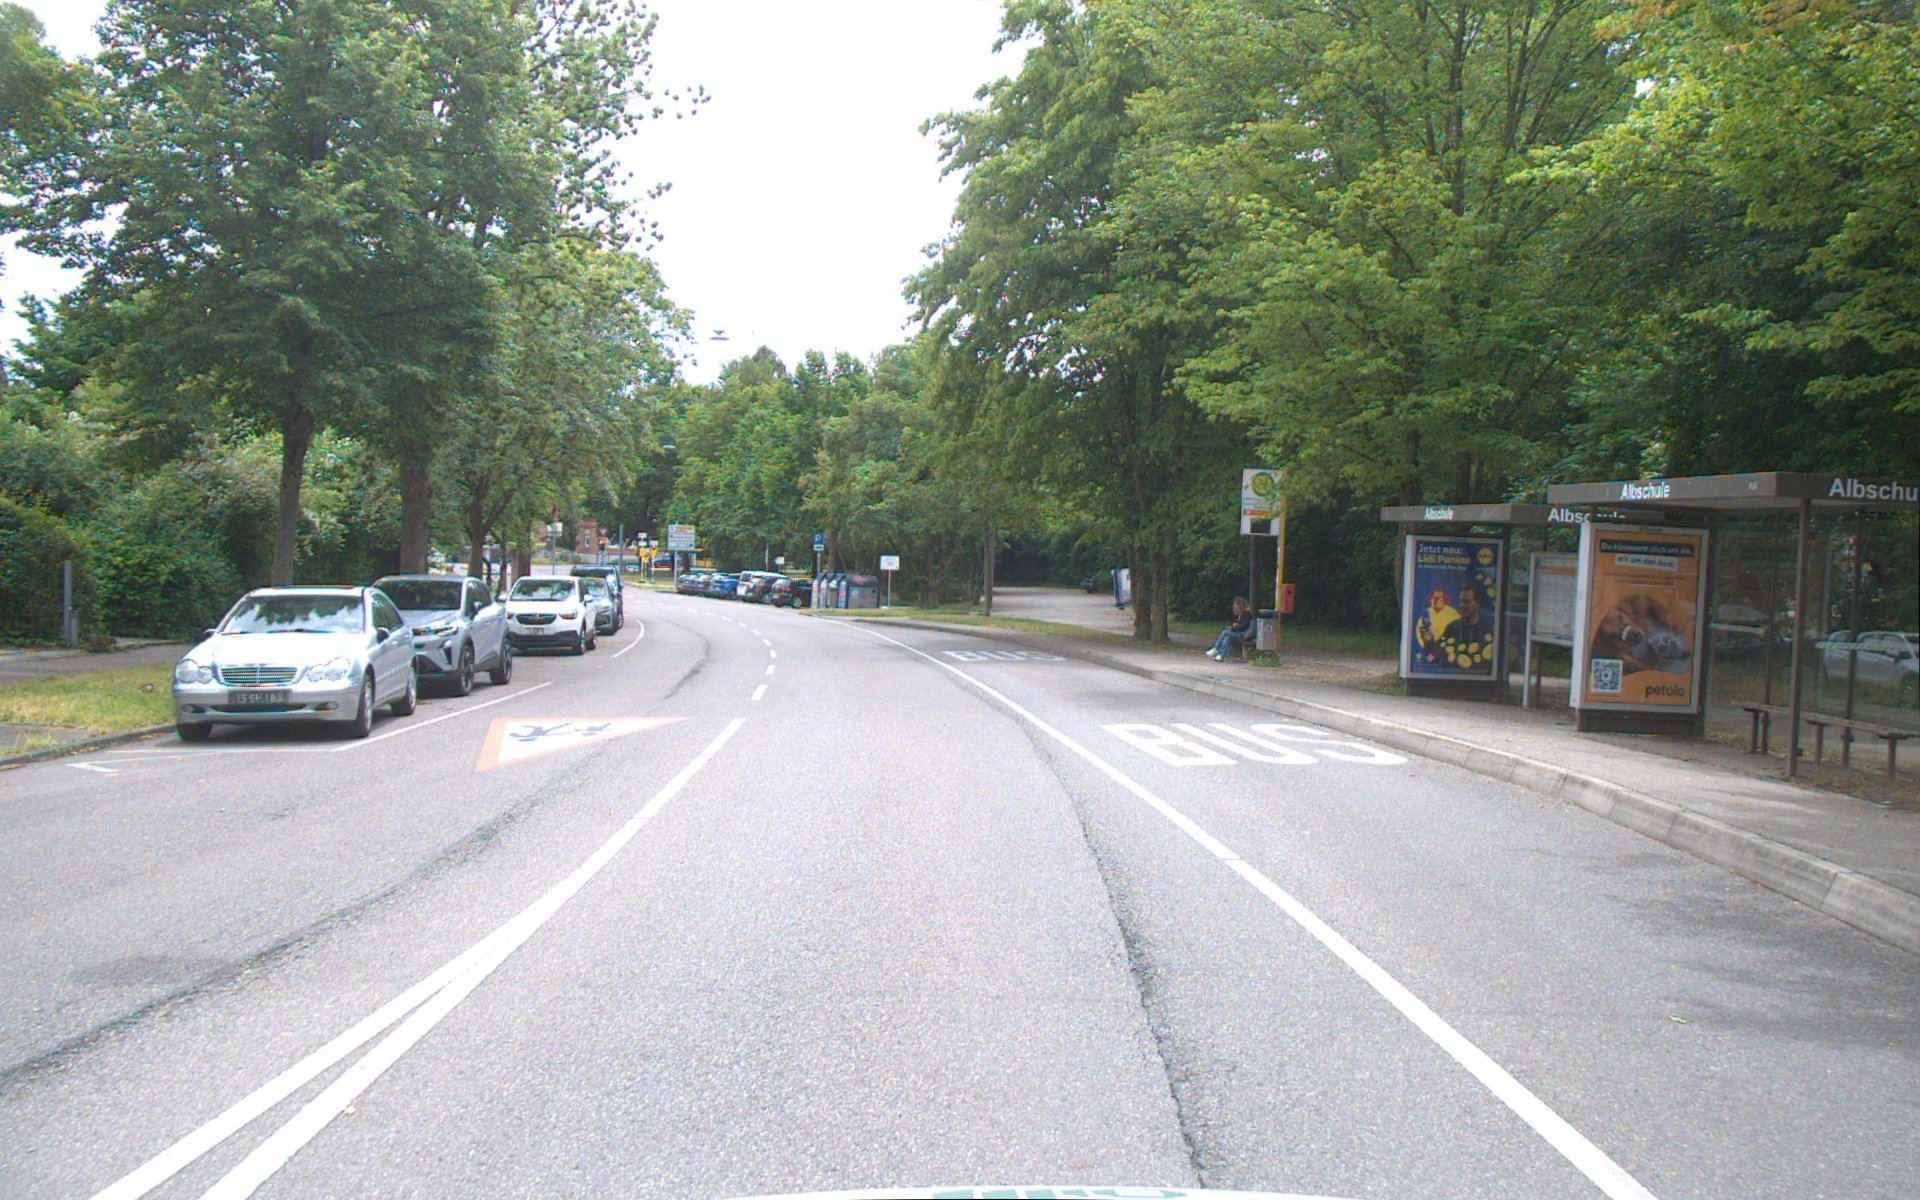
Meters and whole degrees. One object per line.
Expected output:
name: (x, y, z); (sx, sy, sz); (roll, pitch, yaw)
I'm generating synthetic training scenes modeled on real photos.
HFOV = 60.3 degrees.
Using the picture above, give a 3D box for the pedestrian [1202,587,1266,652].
pedestrian: (5.156, 0.368, 31.162); (1.044, 1.203, 0.579); (0, 1, -10)

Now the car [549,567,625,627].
car: (-10.350, -0.118, 46.120); (1.832, 1.565, 4.217); (0, 1, -10)

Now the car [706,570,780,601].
car: (-12.314, -0.831, 93.953); (3.791, 1.555, 1.723); (3, -1, -38)

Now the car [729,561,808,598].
car: (-10.363, -1.088, 89.677); (3.791, 1.750, 1.853); (3, 0, -38)

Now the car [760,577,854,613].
car: (-7.298, -0.236, 78.991); (3.958, 1.438, 2.031); (3, 2, -38)

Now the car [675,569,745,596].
car: (-15.317, -1.071, 101.440); (3.845, 1.451, 1.806); (3, -1, -38)

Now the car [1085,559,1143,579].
car: (11.325, -2.309, 121.922); (3.917, 1.434, 1.795); (0, 1, -13)

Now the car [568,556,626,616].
car: (-12.277, -0.509, 56.023); (1.825, 1.942, 5.068); (0, 1, -12)

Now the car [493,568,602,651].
car: (-8.548, 0.145, 34.593); (1.702, 1.606, 4.135); (0, 1, -7)

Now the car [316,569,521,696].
car: (-7.337, 0.368, 22.809); (1.701, 1.565, 4.186); (0, 1, -4)

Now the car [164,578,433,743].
car: (-6.691, 0.513, 17.217); (1.704, 1.441, 4.462); (0, 1, -10)

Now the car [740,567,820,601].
car: (-9.449, -0.825, 86.968); (3.791, 1.493, 1.724); (3, 1, -38)

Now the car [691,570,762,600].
car: (-13.910, -0.907, 98.640); (3.791, 1.555, 1.723); (3, -1, -38)
